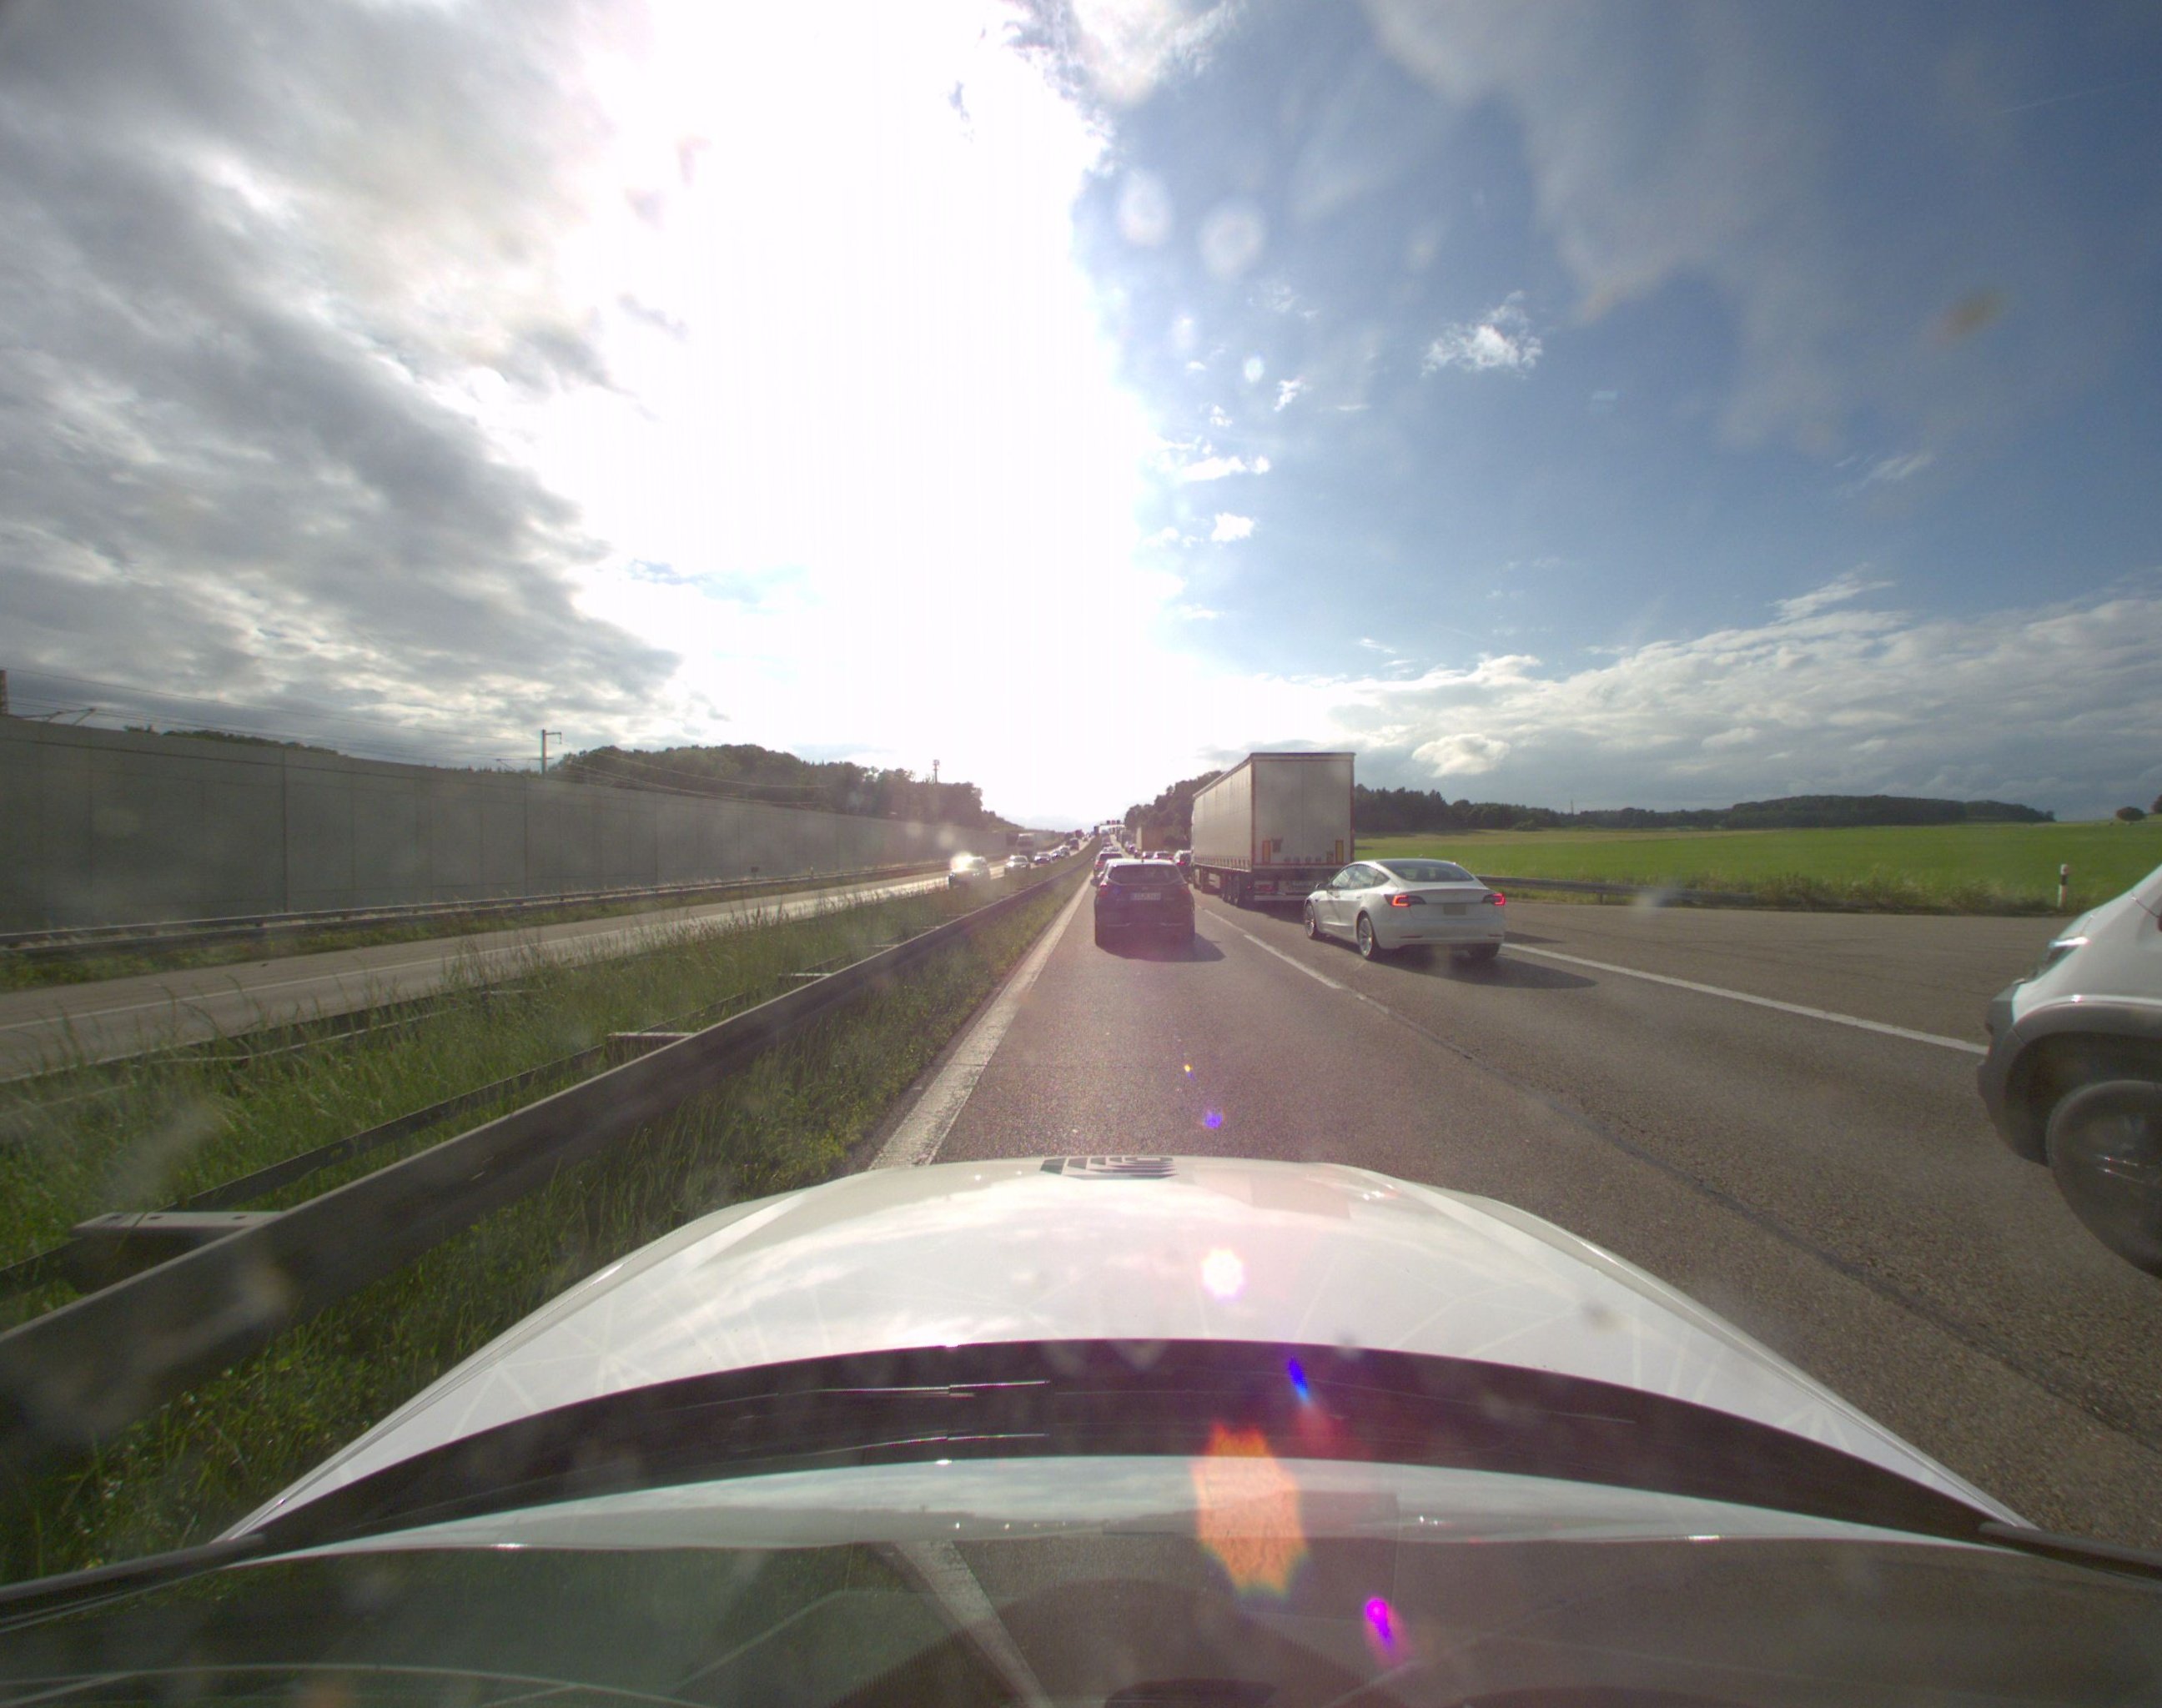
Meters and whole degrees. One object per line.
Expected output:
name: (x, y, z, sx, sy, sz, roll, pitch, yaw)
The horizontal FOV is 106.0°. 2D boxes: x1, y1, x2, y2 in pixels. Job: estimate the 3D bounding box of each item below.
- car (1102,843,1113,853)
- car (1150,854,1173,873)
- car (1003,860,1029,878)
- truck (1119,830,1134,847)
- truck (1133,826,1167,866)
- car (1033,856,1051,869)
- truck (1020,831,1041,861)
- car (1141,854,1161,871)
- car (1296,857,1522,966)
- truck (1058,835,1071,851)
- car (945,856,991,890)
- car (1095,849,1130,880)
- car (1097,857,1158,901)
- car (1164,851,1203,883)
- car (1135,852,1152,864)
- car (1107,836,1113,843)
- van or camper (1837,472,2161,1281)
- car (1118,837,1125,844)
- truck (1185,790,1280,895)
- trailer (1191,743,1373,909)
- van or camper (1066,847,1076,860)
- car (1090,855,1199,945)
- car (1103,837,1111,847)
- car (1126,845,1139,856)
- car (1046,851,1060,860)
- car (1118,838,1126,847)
car: (4.633, -1.041, 145.090, 1.867, 1.644, 4.233, -1, 1, 1)
car: (7.589, 0.881, 77.016, 1.866, 1.644, 4.234, -2, -1, 2)
car: (-5.455, 1.236, 68.437, 1.691, 1.499, 4.428, -1, -1, 1)
truck: (12.479, -4.311, 225.143, 3.452, 4.577, 12.442, 0, 1, 1)
truck: (8.332, -0.866, 100.154, 3.285, 4.577, 12.440, 0, -1, 1)
car: (-4.693, 0.985, 97.421, 1.762, 1.479, 3.831, -1, -1, 2)
truck: (-7.239, -1.072, 117.123, 2.371, 4.181, 5.934, -2, -1, 2)
car: (7.413, 0.901, 86.935, 1.866, 1.644, 4.234, -1, 0, 2)
car: (4.872, 0.756, 12.865, 1.783, 1.394, 4.436, -1, 0, 0)
truck: (-4.829, -3.341, 245.305, 3.284, 4.577, 12.445, -1, 0, 2)
car: (-6.122, 1.013, 44.511, 1.774, 1.737, 4.104, -1, -1, 2)
car: (1.791, 0.601, 46.628, 1.866, 1.644, 4.234, -1, -1, 2)
car: (1.545, 0.806, 27.769, 1.866, 1.358, 4.234, -1, 0, 2)
car: (5.463, 0.670, 43.795, 1.690, 1.611, 4.440, -1, 0, 3)
car: (8.501, 0.552, 111.183, 1.867, 1.644, 4.231, -1, 0, 0)
car: (8.890, -4.437, 251.502, 1.866, 2.158, 5.214, -1, 2, 2)
van or camper: (4.636, 0.044, 0.667, 2.207, 2.681, 6.334, -1, -1, 1)
car: (12.598, -4.302, 254.449, 1.866, 2.158, 5.214, -1, 2, 2)
truck: (6.134, -0.387, 33.741, 3.121, 4.016, 5.166, -1, -1, 2)
trailer: (5.795, -0.536, 26.498, 3.118, 4.011, 13.373, -1, -1, 2)
van or camper: (-2.236, -0.143, 186.953, 2.082, 2.819, 5.897, 0, -1, 2)
car: (1.126, 0.770, 15.610, 1.766, 1.451, 4.234, -1, 0, 2)
car: (6.035, -2.712, 189.112, 1.866, 2.158, 5.214, -1, 2, 2)
car: (8.978, -0.629, 142.607, 1.868, 1.644, 4.230, -1, 1, -1)
car: (-3.969, 0.223, 117.014, 1.735, 1.358, 4.234, -1, 0, 2)
car: (10.096, -2.866, 199.222, 1.866, 2.158, 5.214, -1, 2, 2)
